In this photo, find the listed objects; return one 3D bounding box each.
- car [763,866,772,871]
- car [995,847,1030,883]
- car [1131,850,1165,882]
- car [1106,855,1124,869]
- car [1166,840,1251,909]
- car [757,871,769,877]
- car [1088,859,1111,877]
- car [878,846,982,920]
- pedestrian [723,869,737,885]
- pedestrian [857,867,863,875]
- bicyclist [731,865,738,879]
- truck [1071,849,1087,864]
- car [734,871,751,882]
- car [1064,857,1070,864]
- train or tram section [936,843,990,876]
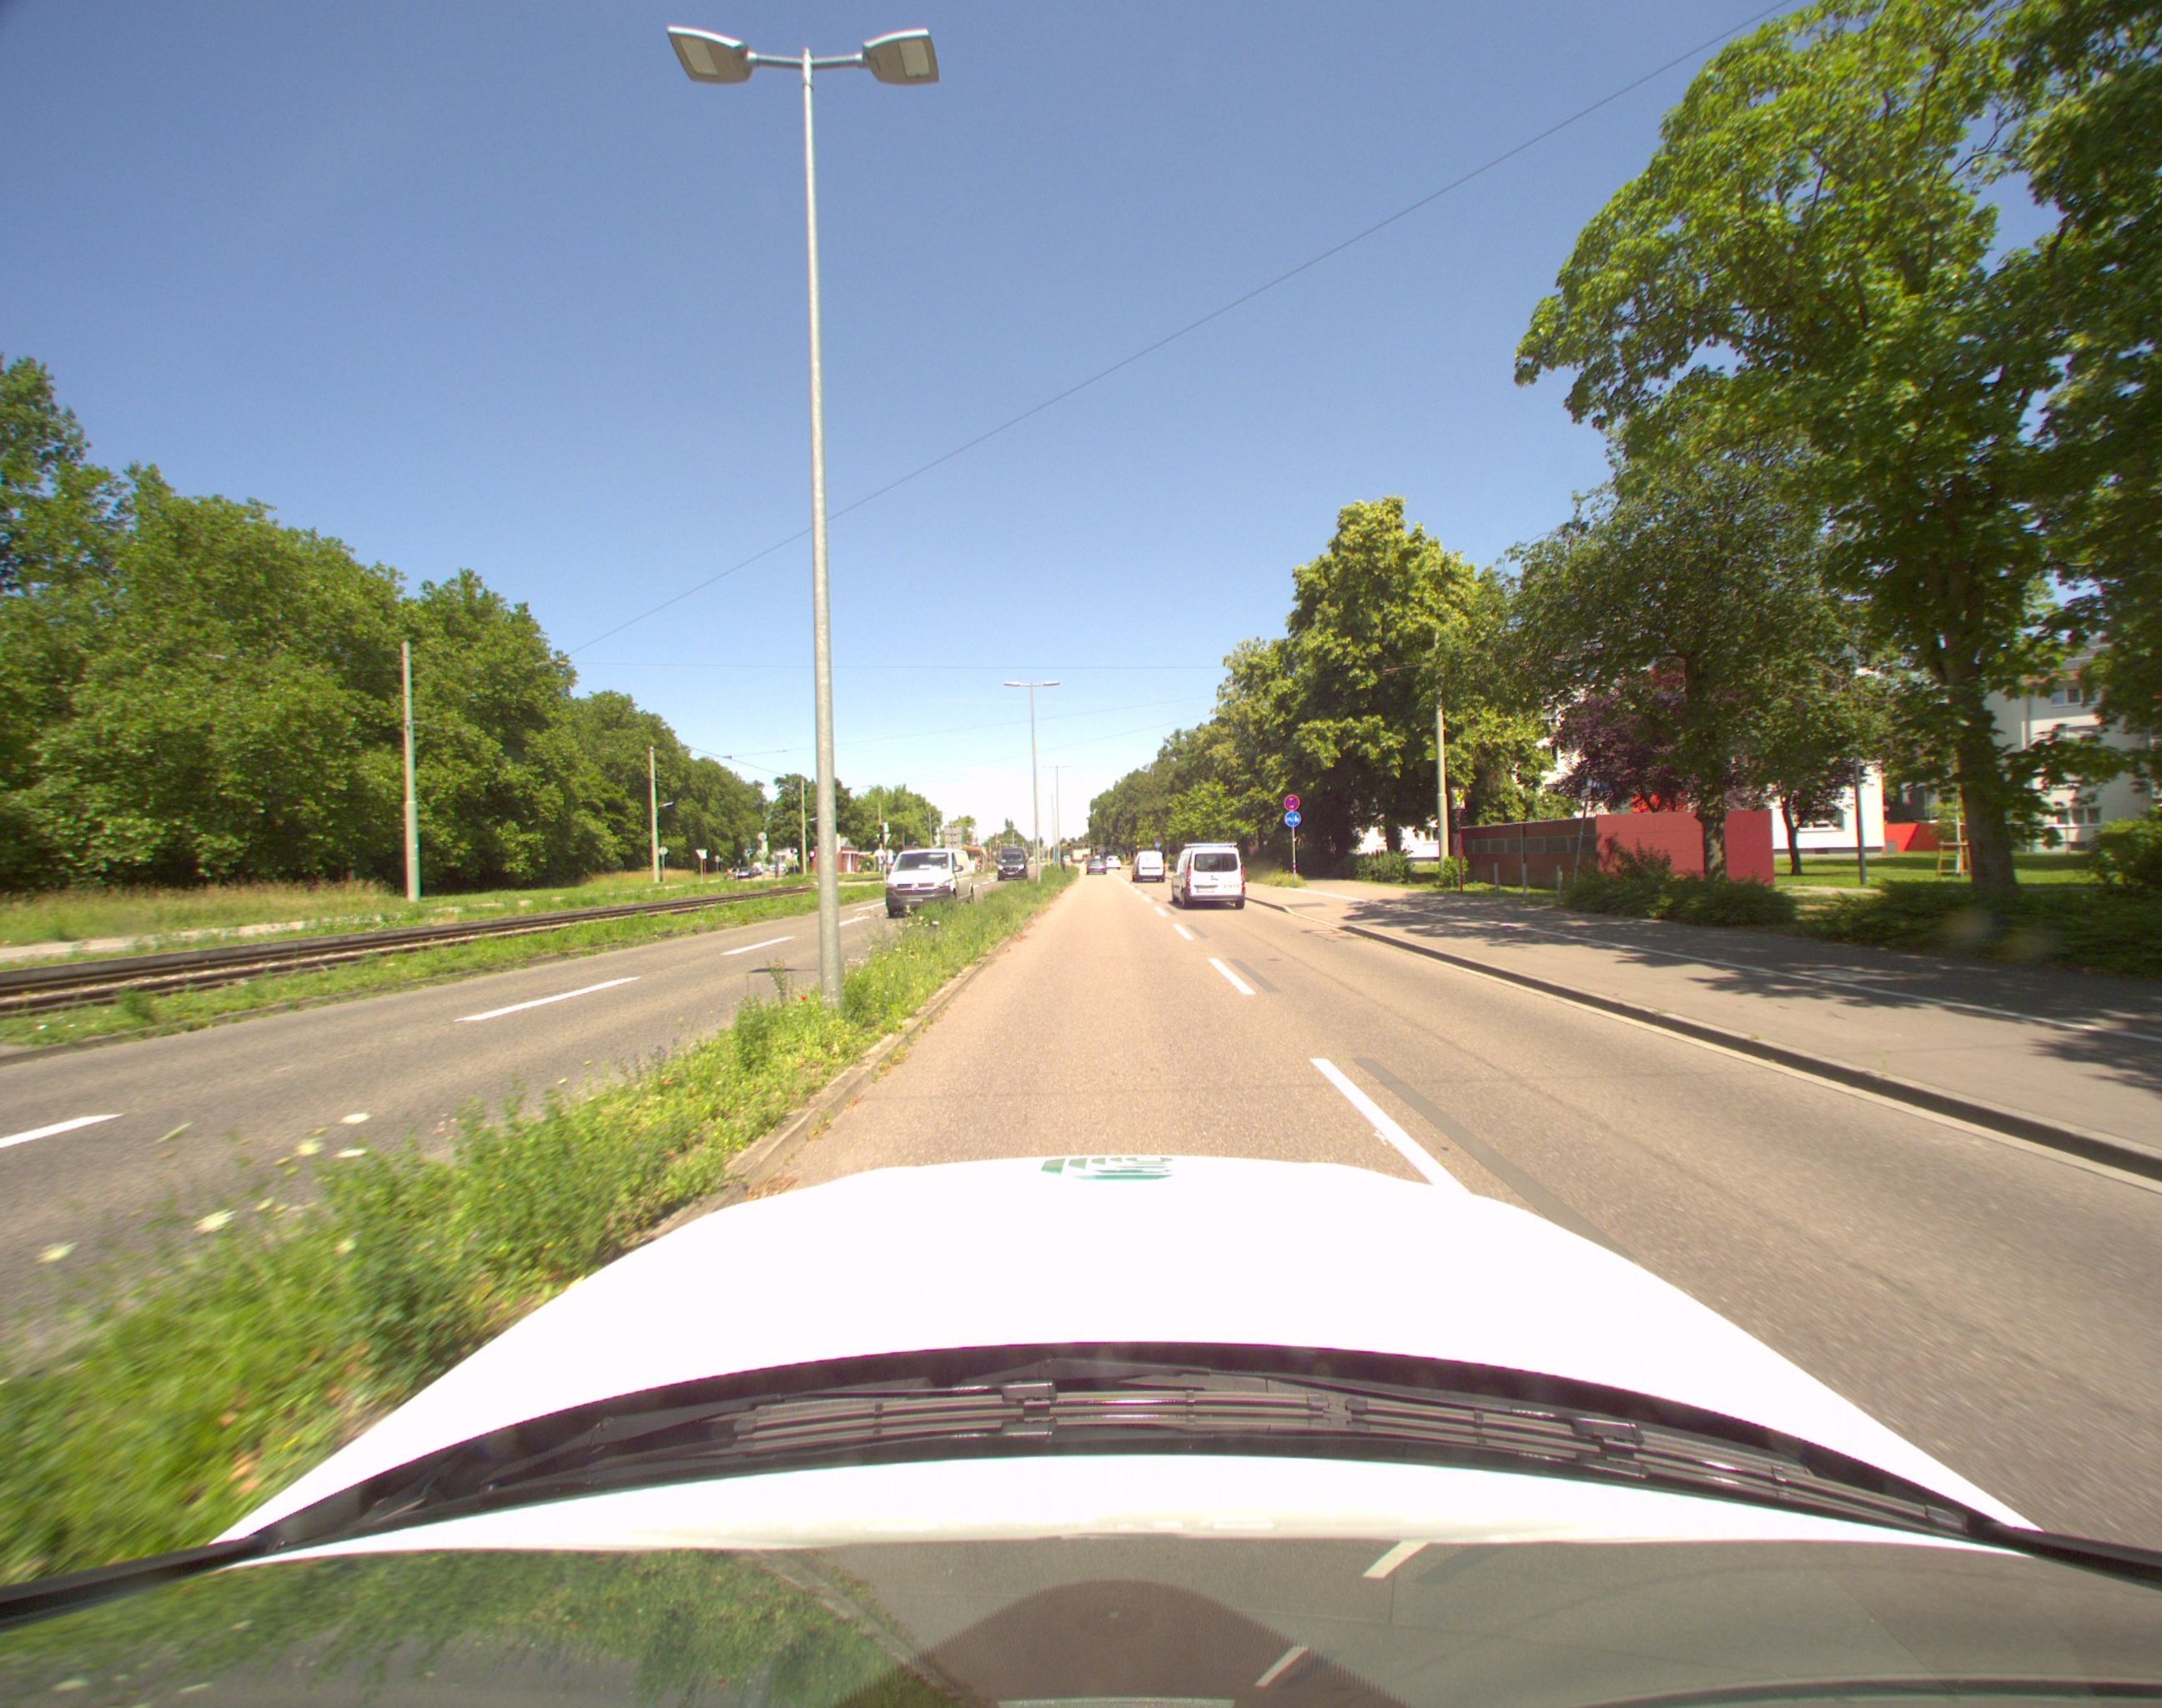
[{"bbox_3d":[-88.631,4.104,230.026,1.998,1.467,3.978,-1,-1,-16],"label":"car"},{"bbox_3d":[-4.903,0.765,58.845,1.987,2.366,5.371,-3,0,0],"label":"car"},{"bbox_3d":[3.941,0.685,48.285,1.722,1.814,4.000,0,0,1],"label":"car"},{"bbox_3d":[3.886,0.915,94.469,1.798,1.540,3.997,-1,-1,-2],"label":"car"},{"bbox_3d":[3.742,0.585,24.726,1.819,1.882,4.454,0,0,-1],"label":"car"},{"bbox_3d":[-72.682,4.563,186.108,1.998,1.467,3.978,-1,-1,-16],"label":"car"},{"bbox_3d":[1.567,1.163,70.112,1.796,1.486,3.998,-1,-1,-1],"label":"car"},{"bbox_3d":[-4.453,0.795,24.942,1.822,1.906,5.570,-3,0,3],"label":"car"},{"bbox_3d":[-38.151,2.500,88.561,0.511,1.701,1.278,-2,-1,43],"label":"pedestrian"},{"bbox_3d":[-27.080,2.083,99.776,0.480,1.018,0.522,-2,-1,0],"label":"pedestrian"},{"bbox_3d":[-33.771,1.743,79.386,0.507,1.336,0.679,-1,-1,-7],"label":"bicyclist"},{"bbox_3d":[-0.602,0.707,227.042,3.889,3.813,10.784,-2,0,-2],"label":"truck"},{"bbox_3d":[-46.029,3.070,110.836,2.001,1.467,3.971,-1,-1,-22],"label":"car"},{"bbox_3d":[-4.249,1.879,243.295,1.683,1.897,3.867,-2,0,-2],"label":"car"},{"bbox_3d":[-15.371,0.771,110.141,2.780,3.668,37.490,-1,0,-2],"label":"train or tram section"}]
